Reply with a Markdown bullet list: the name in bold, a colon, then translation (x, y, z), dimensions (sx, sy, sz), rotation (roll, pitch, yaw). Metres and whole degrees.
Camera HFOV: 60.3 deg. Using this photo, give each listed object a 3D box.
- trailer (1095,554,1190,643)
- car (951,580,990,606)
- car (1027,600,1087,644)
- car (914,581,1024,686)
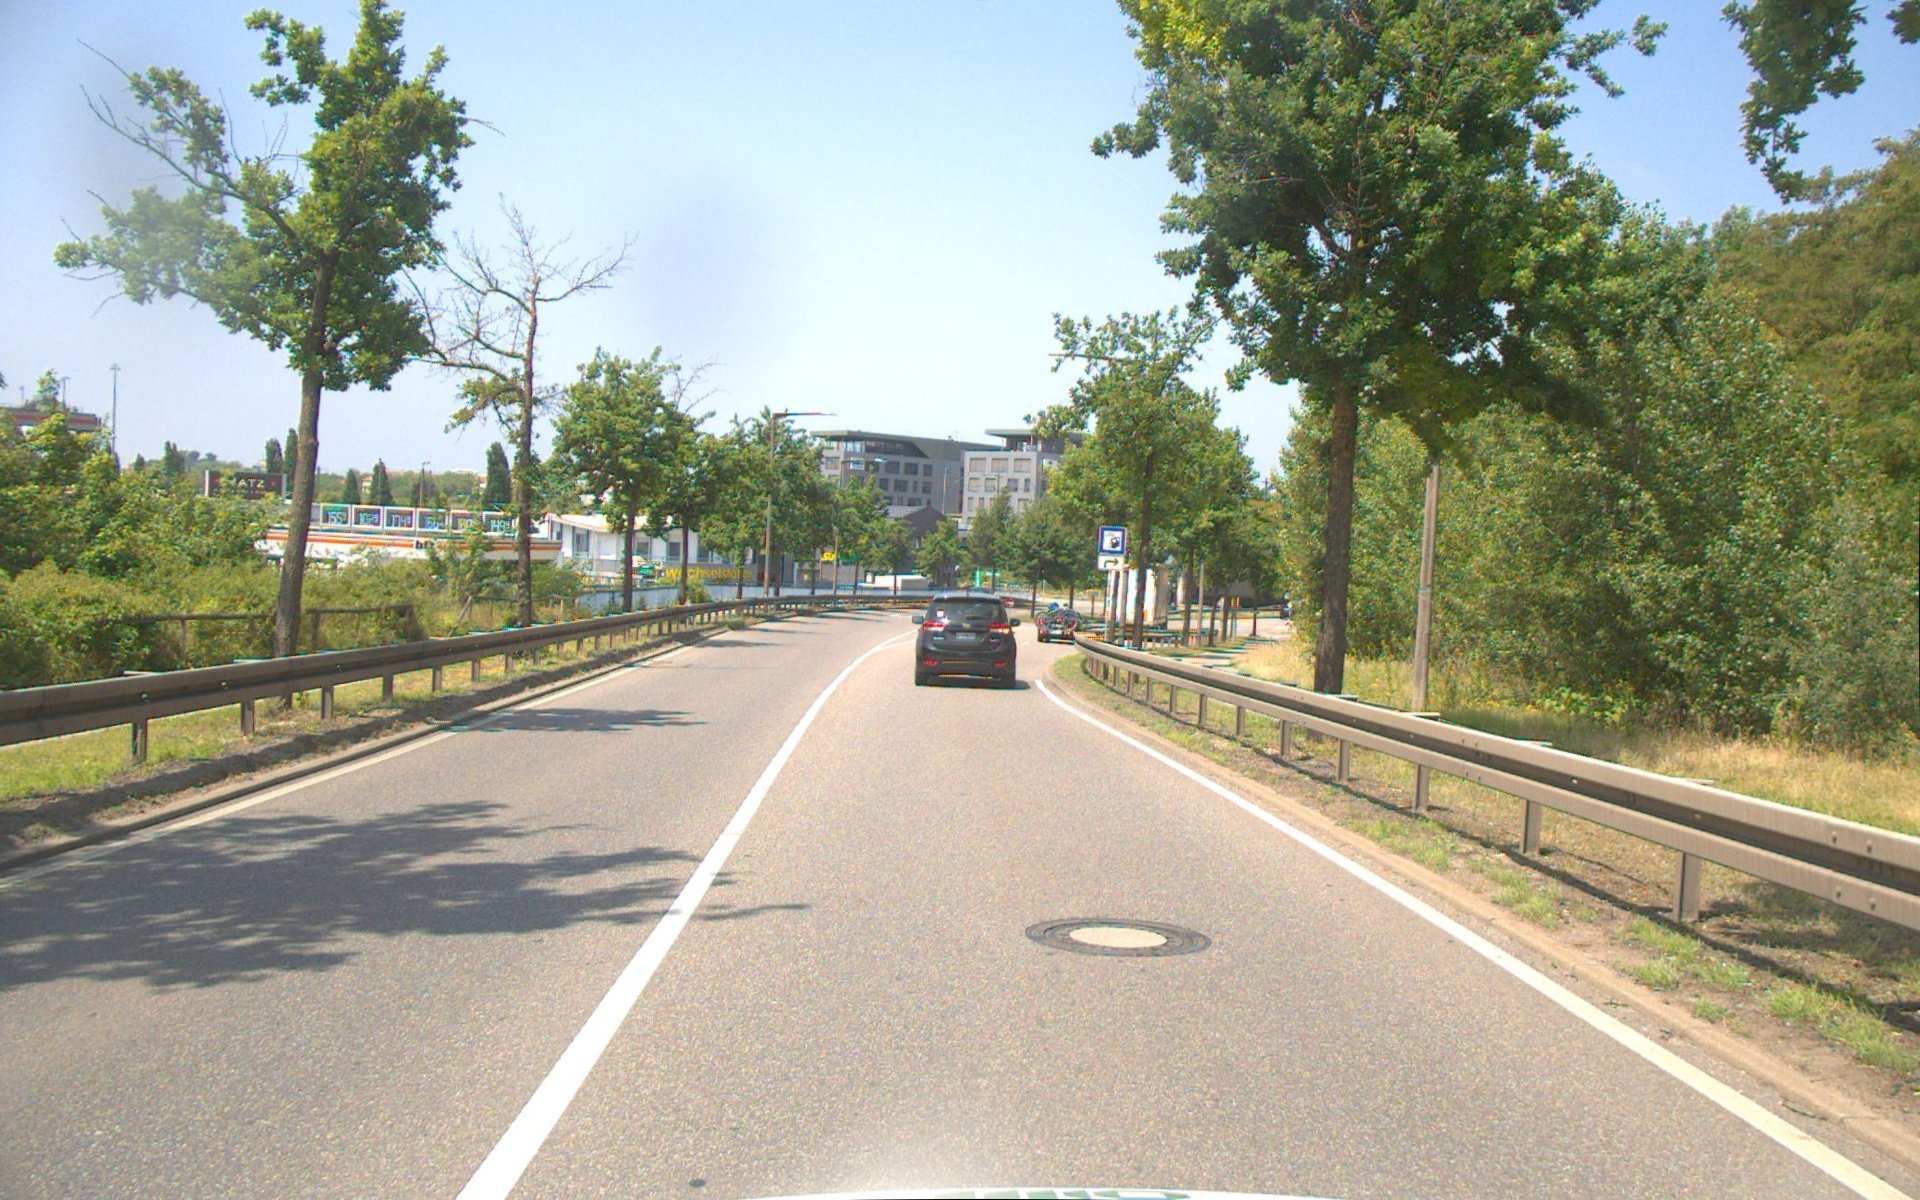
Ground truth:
- **trailer**: translation (10.447, -0.202, 92.803), dimensions (3.013, 4.443, 14.786), rotation (3, 2, 15)
- **car**: translation (0.841, -0.525, 124.089), dimensions (1.769, 1.789, 4.255), rotation (4, 0, 16)
- **car**: translation (4.032, 0.872, 68.203), dimensions (1.915, 1.662, 4.283), rotation (2, 0, 10)
- **car**: translation (0.121, 0.532, 29.489), dimensions (1.731, 1.627, 4.077), rotation (3, 1, -1)
